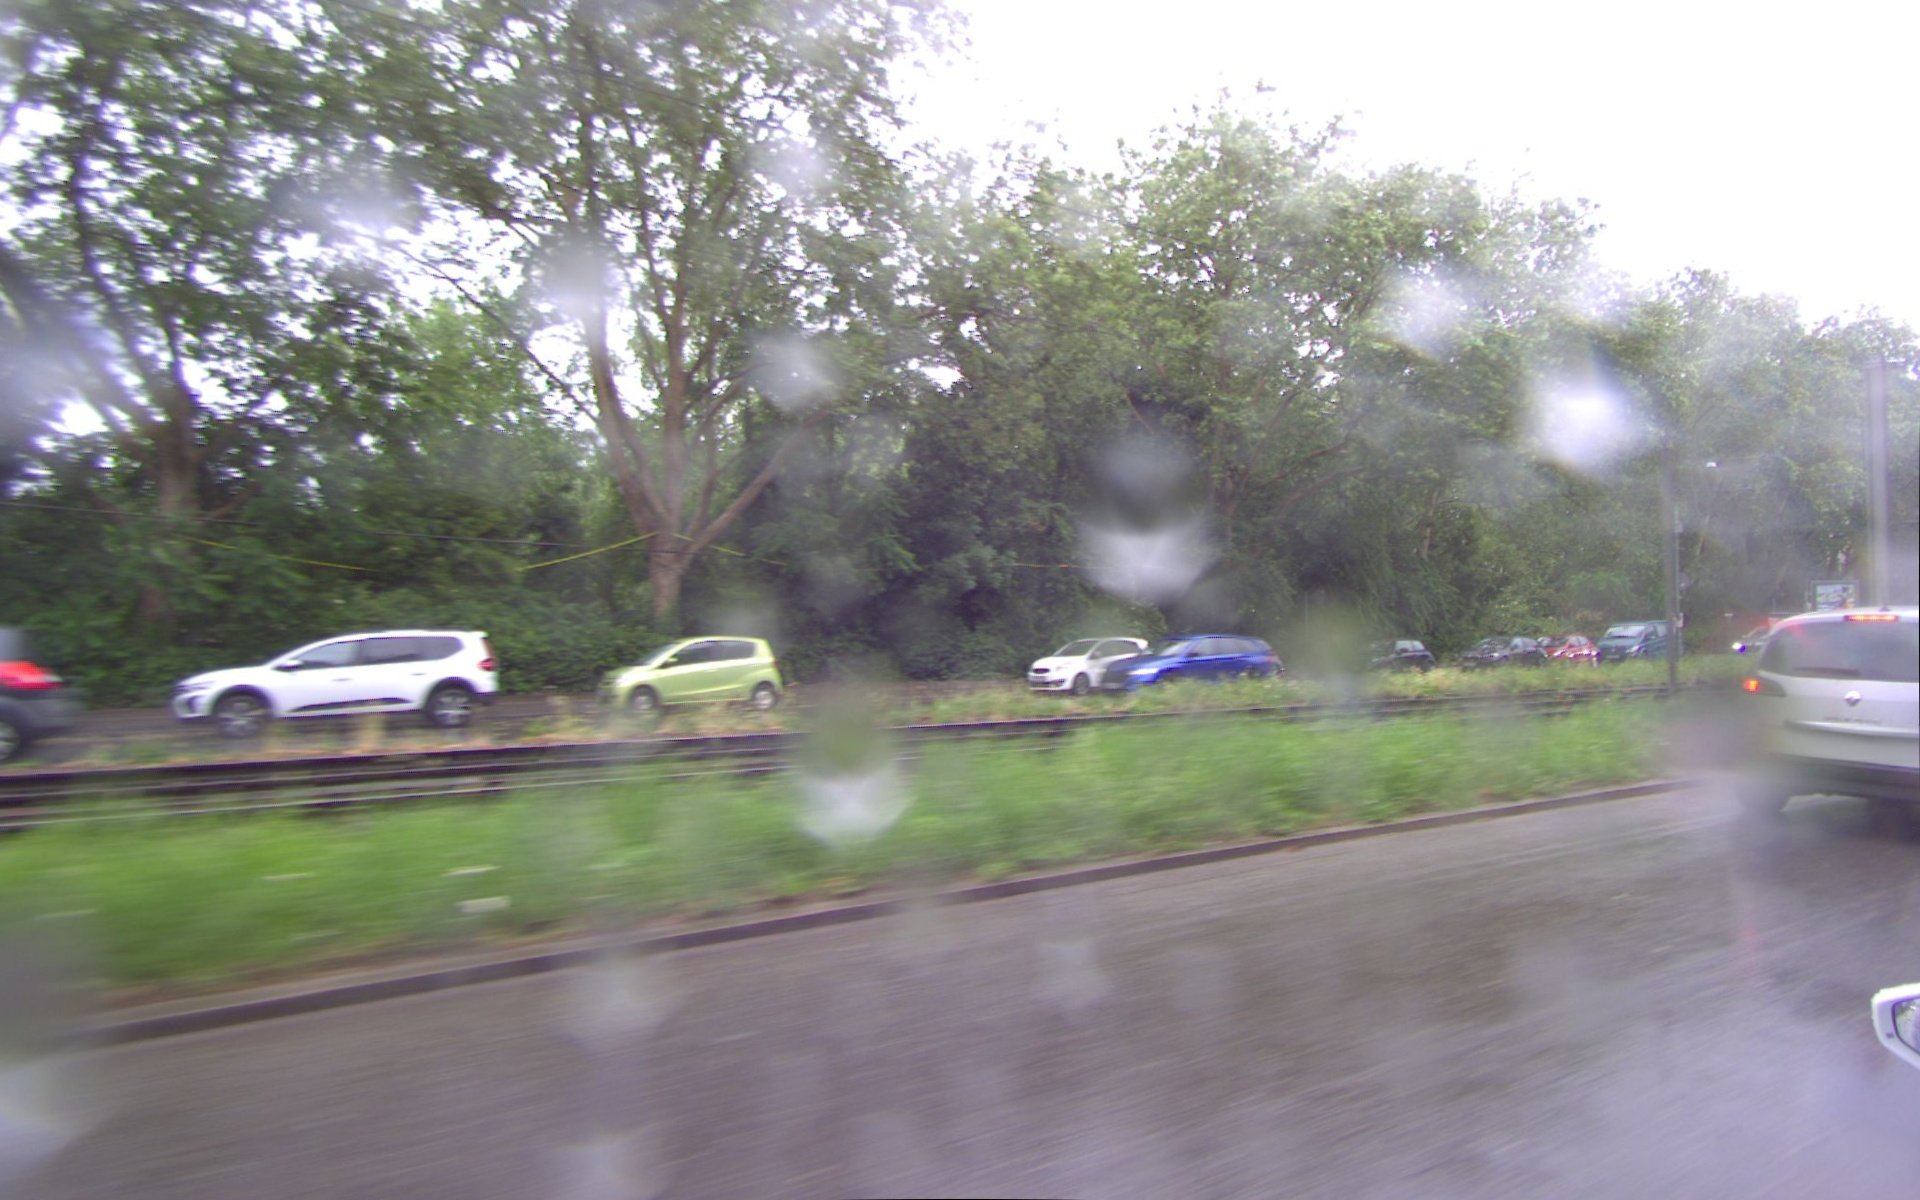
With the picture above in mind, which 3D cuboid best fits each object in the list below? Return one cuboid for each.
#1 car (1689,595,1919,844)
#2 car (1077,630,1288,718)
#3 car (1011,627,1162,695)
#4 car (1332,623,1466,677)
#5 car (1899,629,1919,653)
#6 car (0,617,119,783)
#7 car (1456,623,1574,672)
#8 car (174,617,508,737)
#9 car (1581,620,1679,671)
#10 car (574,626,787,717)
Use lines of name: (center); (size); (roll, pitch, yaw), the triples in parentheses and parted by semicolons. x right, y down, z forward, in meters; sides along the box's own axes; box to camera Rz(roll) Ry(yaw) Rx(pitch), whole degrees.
car: (7.968, 0.840, 8.071); (4.212, 1.645, 1.856); (2, -1, -30)
car: (5.048, 1.604, 22.578); (4.646, 1.774, 2.019); (2, -3, -34)
car: (3.374, 1.580, 26.582); (3.774, 1.669, 1.750); (2, -3, -34)
car: (14.696, 1.611, 33.547); (4.562, 1.679, 2.019); (1, -1, -34)
car: (62.538, 2.618, 64.758); (3.955, 1.537, 1.924); (1, -2, -32)
car: (-12.008, 1.084, 10.862); (4.215, 1.774, 2.019); (2, -3, -34)
car: (20.888, 1.739, 37.753); (4.562, 1.680, 2.019); (1, 0, -34)
car: (-10.074, 1.220, 16.661); (4.485, 1.750, 1.740); (2, -3, -34)
car: (29.335, 1.976, 43.944); (4.757, 2.120, 2.018); (2, -3, -36)
car: (-5.548, 1.385, 20.097); (3.774, 1.669, 1.750); (2, -3, -34)
